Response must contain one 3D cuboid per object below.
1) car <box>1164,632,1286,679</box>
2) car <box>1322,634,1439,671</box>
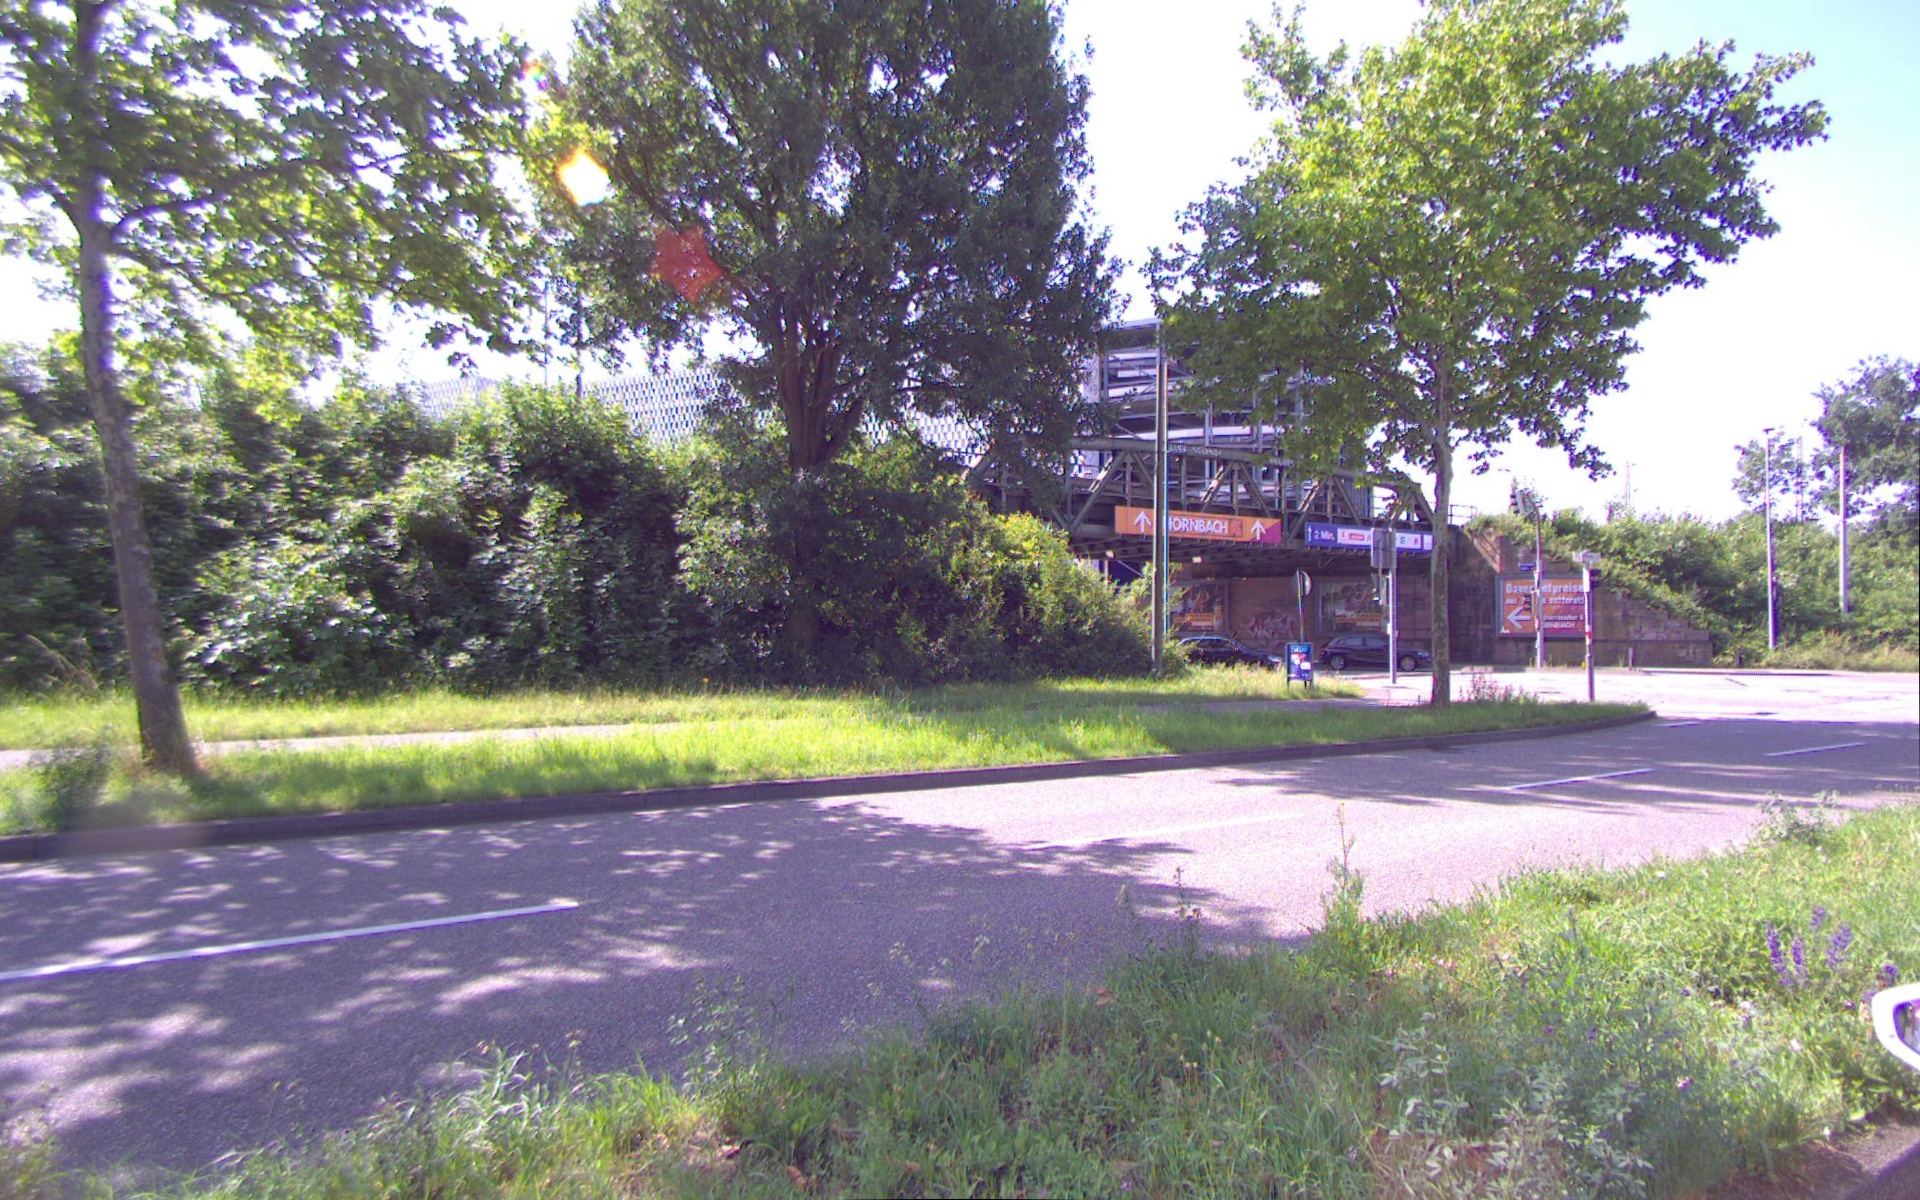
[{"bbox_3d":[9.351,1.905,35.424,3.869,1.500,1.822,1,-1,25],"label":"car"},{"bbox_3d":[16.871,2.085,40.357,4.253,1.413,1.770,-1,-2,24],"label":"car"}]
